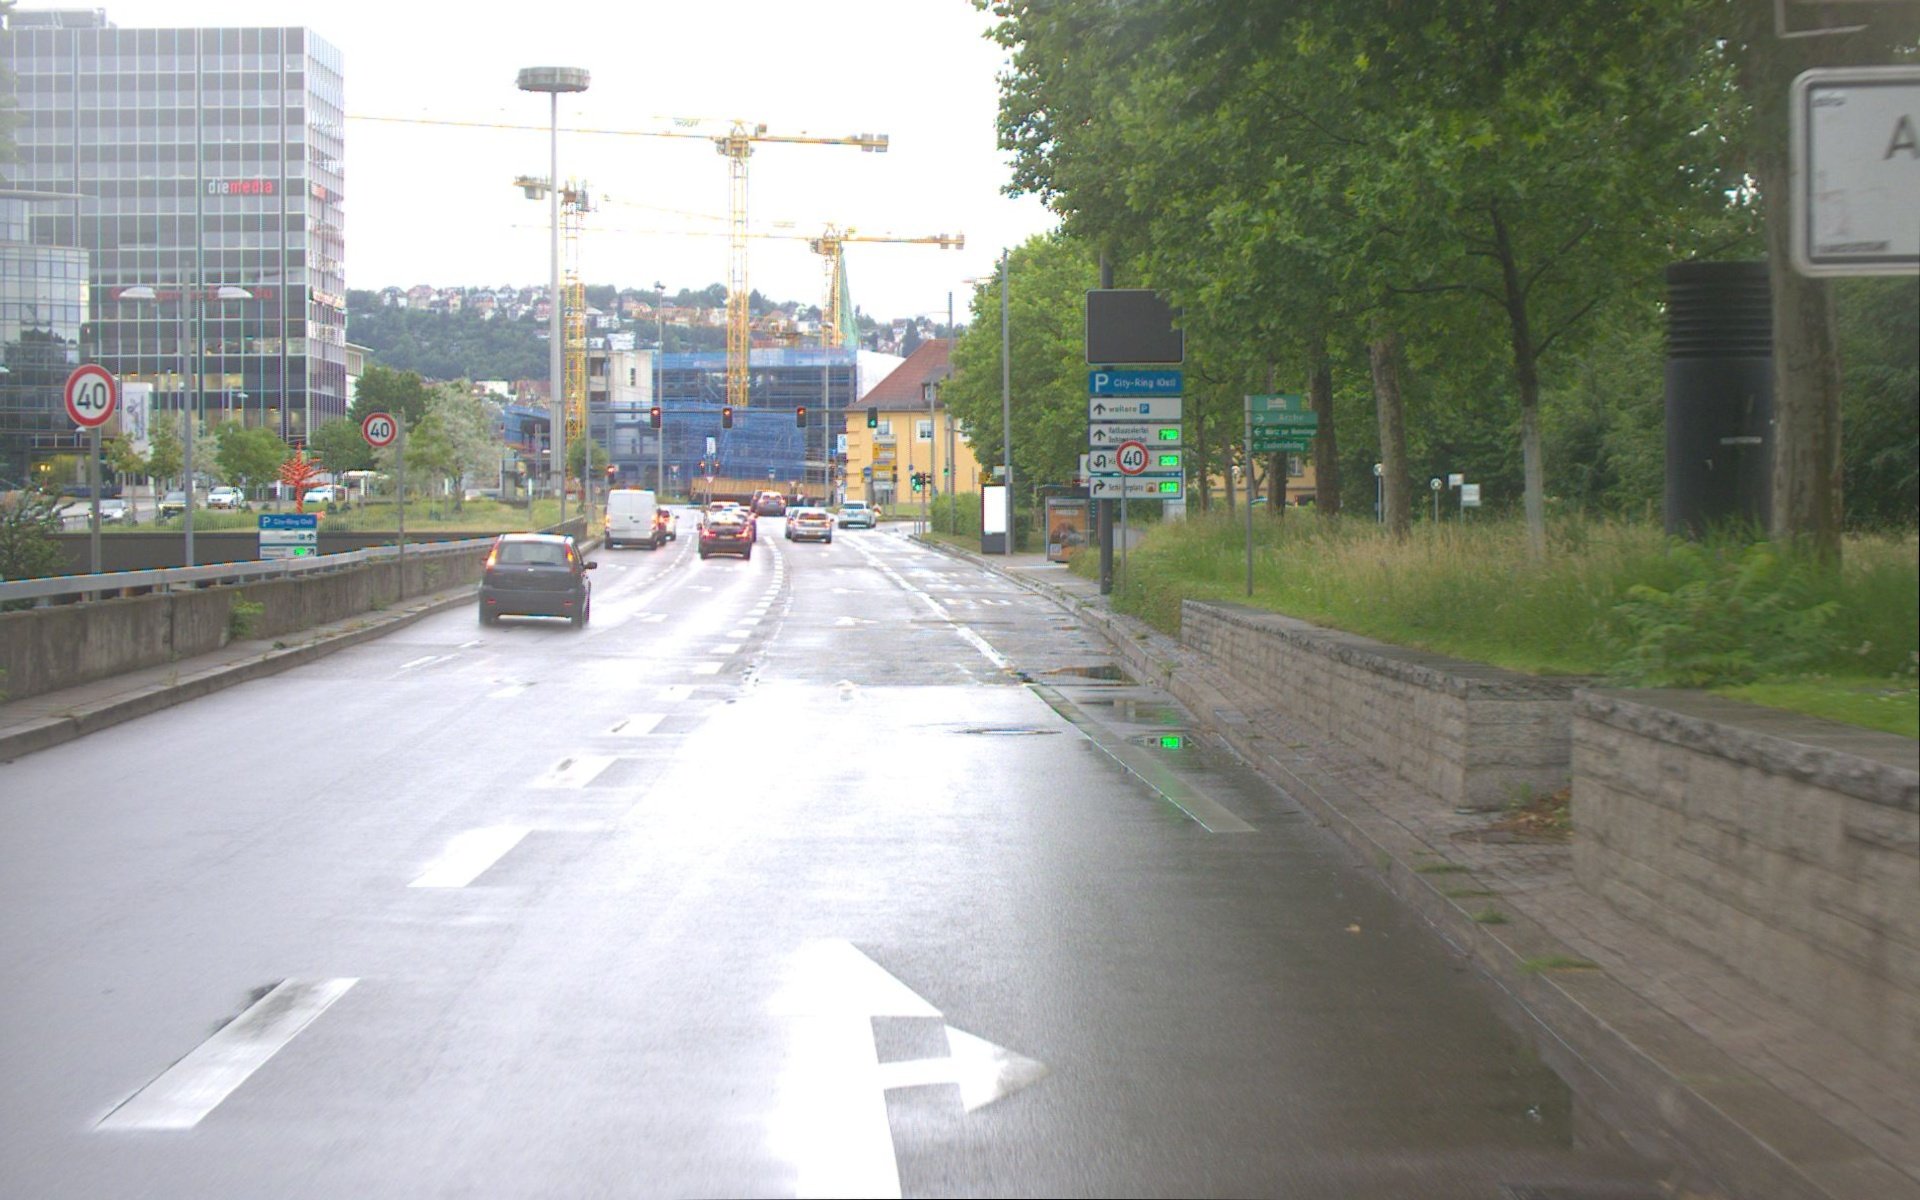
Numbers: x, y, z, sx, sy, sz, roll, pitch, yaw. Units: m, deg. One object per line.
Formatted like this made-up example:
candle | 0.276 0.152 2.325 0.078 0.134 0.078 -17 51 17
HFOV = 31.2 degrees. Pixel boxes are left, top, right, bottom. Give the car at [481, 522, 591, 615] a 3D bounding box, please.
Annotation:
car | -6.781 -0.515 55.237 1.542 1.410 3.902 1 1 -4

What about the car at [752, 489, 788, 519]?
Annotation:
car | -12.187 -6.156 220.747 2.161 1.873 3.771 1 1 -1

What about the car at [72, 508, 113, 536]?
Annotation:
car | -43.844 -3.920 173.779 1.344 1.347 2.931 1 1 -1

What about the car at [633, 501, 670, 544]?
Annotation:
car | -12.747 -3.197 142.113 1.464 1.700 3.142 1 1 -6

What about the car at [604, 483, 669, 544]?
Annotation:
car | -12.721 -3.394 135.379 2.292 2.306 5.006 1 1 -3

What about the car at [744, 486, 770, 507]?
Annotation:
car | -13.746 -6.992 232.890 1.479 1.355 3.136 1 1 0

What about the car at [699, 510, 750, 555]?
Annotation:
car | -8.582 -2.464 124.849 1.753 1.466 4.224 1 3 -5

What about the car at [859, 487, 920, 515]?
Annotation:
car | -4.280 -5.985 207.852 1.547 1.538 3.616 2 1 44

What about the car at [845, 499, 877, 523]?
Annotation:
car | -5.387 -4.830 186.970 1.636 1.170 3.266 1 0 -1

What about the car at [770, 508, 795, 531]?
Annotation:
car | -8.247 -3.739 159.558 1.076 0.987 1.972 1 0 -1

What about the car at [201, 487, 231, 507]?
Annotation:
car | -48.975 -6.776 226.285 1.408 1.250 3.167 1 1 -4

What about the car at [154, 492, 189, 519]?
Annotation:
car | -45.114 -5.406 196.634 1.464 1.435 2.963 1 1 -4

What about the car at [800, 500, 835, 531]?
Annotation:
car | -6.342 -3.762 153.404 1.444 1.354 2.412 1 1 -1
